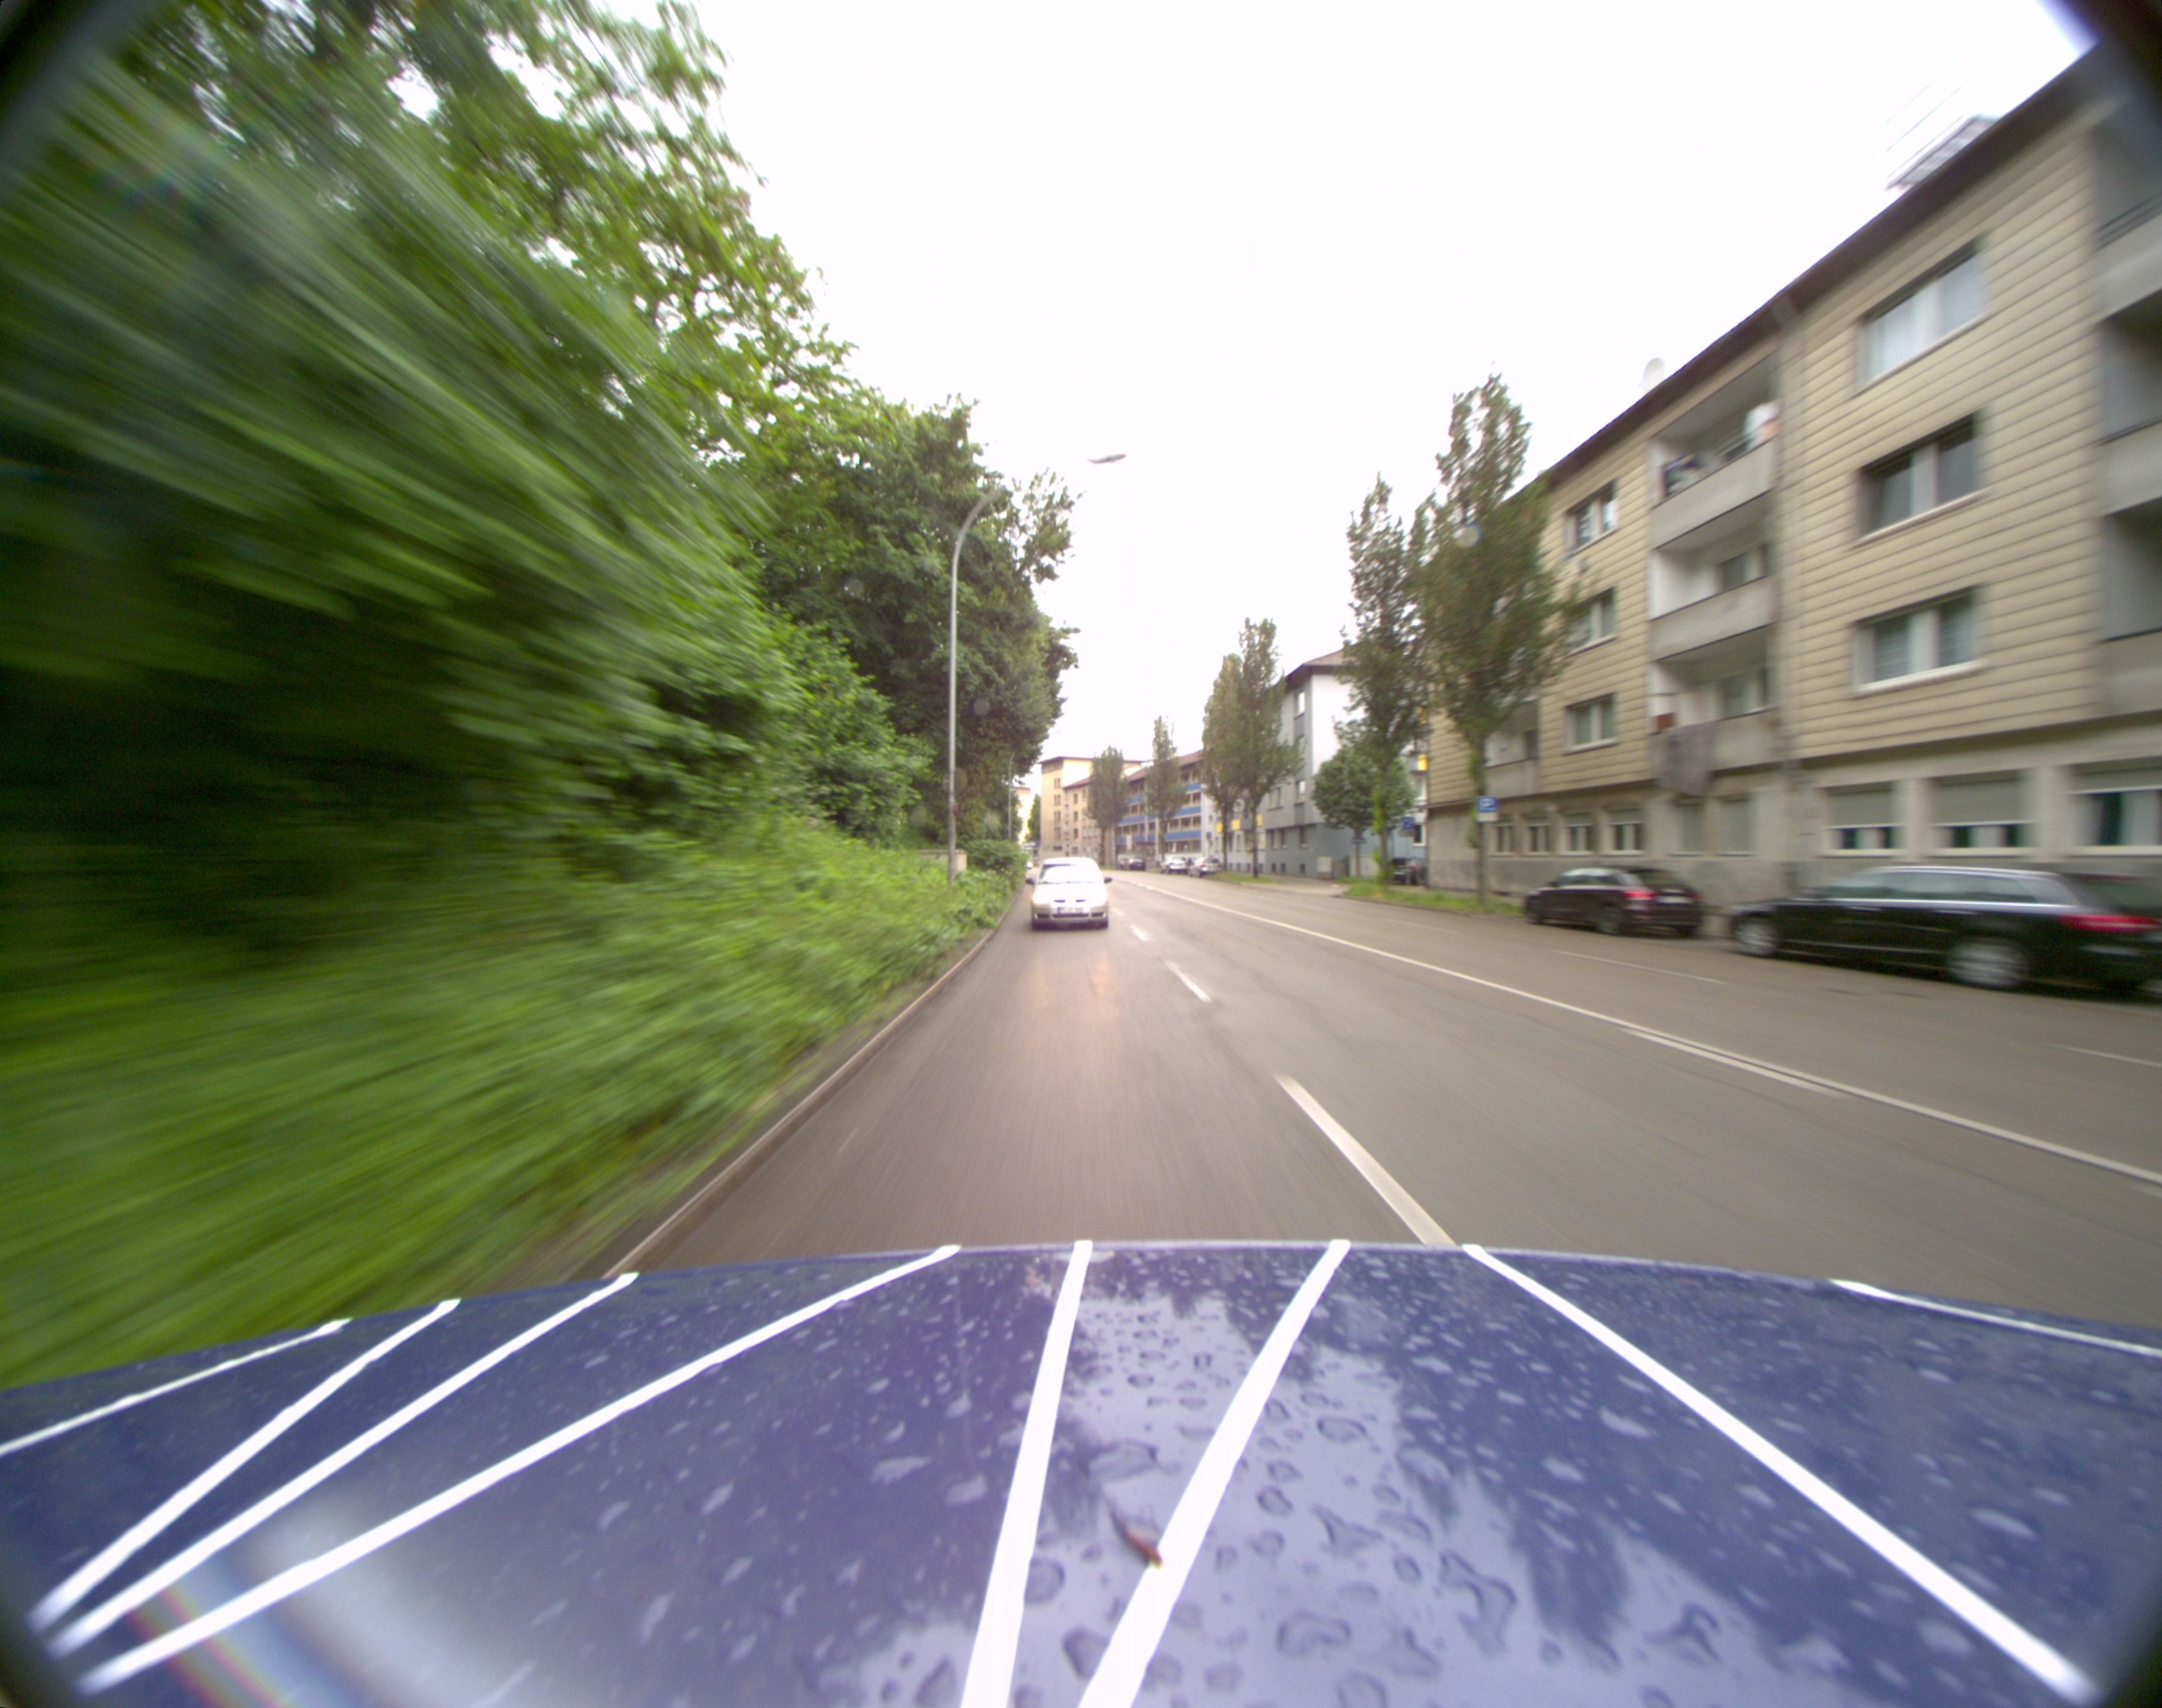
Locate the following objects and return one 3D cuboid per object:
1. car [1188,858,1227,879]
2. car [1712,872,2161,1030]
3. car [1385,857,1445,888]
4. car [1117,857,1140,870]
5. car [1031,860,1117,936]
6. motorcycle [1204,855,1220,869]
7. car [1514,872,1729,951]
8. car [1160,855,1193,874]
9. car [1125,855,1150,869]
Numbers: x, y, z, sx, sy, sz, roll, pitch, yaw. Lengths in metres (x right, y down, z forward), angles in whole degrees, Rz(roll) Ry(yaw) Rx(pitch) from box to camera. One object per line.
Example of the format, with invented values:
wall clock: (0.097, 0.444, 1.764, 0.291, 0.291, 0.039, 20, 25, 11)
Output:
car: (9.306, 1.037, 56.128, 1.729, 1.444, 4.203, 1, 0, -6)
car: (11.325, 1.051, 10.032, 1.822, 1.480, 4.788, 2, 0, -3)
car: (17.747, 0.937, 40.291, 1.708, 1.485, 4.009, 3, 1, 41)
car: (5.672, 1.131, 91.145, 1.785, 1.394, 4.085, 2, -1, -8)
car: (-0.192, 0.918, 17.769, 1.752, 1.510, 3.999, -1, 0, -1)
motorcycle: (13.630, 0.848, 79.097, 0.677, 1.406, 2.233, -2, 1, -15)
car: (11.189, 1.115, 16.129, 1.630, 1.379, 3.988, 1, 0, -2)
car: (8.390, 0.922, 67.134, 1.769, 1.594, 4.531, 1, 0, -7)
car: (6.281, 0.849, 85.244, 1.827, 1.431, 4.889, 2, 0, -8)
